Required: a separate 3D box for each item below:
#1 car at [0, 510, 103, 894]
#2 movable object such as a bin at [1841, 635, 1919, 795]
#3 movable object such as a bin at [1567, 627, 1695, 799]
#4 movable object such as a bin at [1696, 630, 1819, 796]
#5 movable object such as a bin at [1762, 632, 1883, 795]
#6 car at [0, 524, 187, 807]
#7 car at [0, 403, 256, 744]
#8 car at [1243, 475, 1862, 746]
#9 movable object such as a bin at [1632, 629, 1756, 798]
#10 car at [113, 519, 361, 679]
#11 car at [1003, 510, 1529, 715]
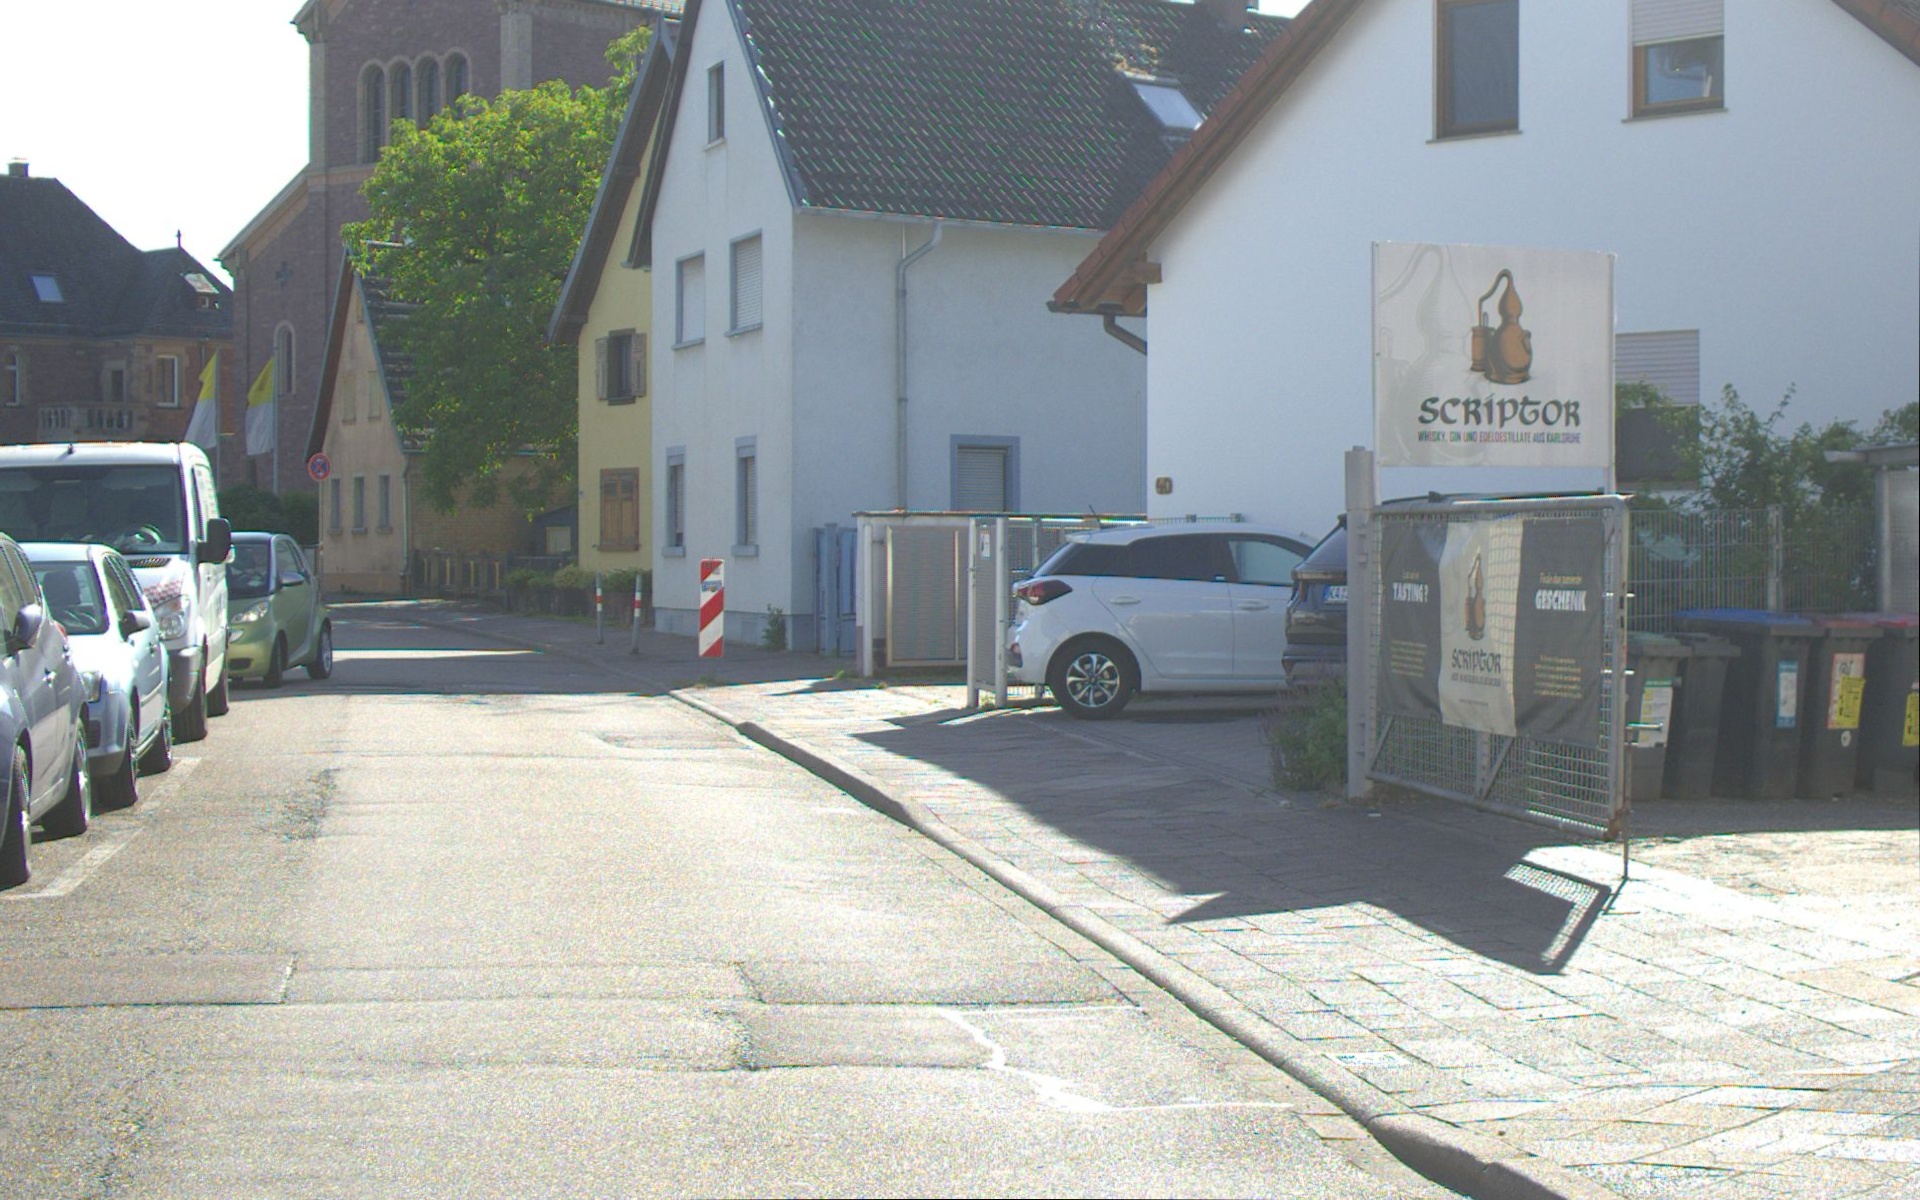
[{"bbox_3d":[-5.075,0.392,16.052,1.714,1.593,3.926,-1,2,-9],"label":"car"},{"bbox_3d":[5.558,0.677,20.337,0.515,0.920,0.423,2,0,-38],"label":"movable object such as a bin"},{"bbox_3d":[3.683,0.618,18.880,0.515,0.920,0.423,2,0,-36],"label":"movable object such as a bin"},{"bbox_3d":[4.542,0.642,19.579,0.515,0.920,0.423,2,0,-38],"label":"movable object such as a bin"},{"bbox_3d":[5.010,0.658,19.969,0.515,0.920,0.423,2,0,-38],"label":"movable object such as a bin"},{"bbox_3d":[-5.658,0.317,20.581,1.711,1.499,4.236,-1,2,-9],"label":"car"},{"bbox_3d":[-6.923,-0.257,27.448,2.196,2.381,6.066,-2,2,-9],"label":"car"},{"bbox_3d":[4.089,0.004,23.491,4.037,1.682,1.911,-2,2,-37],"label":"car"},{"bbox_3d":[4.109,0.631,19.251,0.515,0.920,0.423,2,0,-38],"label":"movable object such as a bin"},{"bbox_3d":[-7.272,-0.042,34.811,1.574,1.541,2.965,0,1,7],"label":"car"},{"bbox_3d":[2.310,0.075,26.765,3.912,1.487,1.847,-1,1,0],"label":"car"}]
